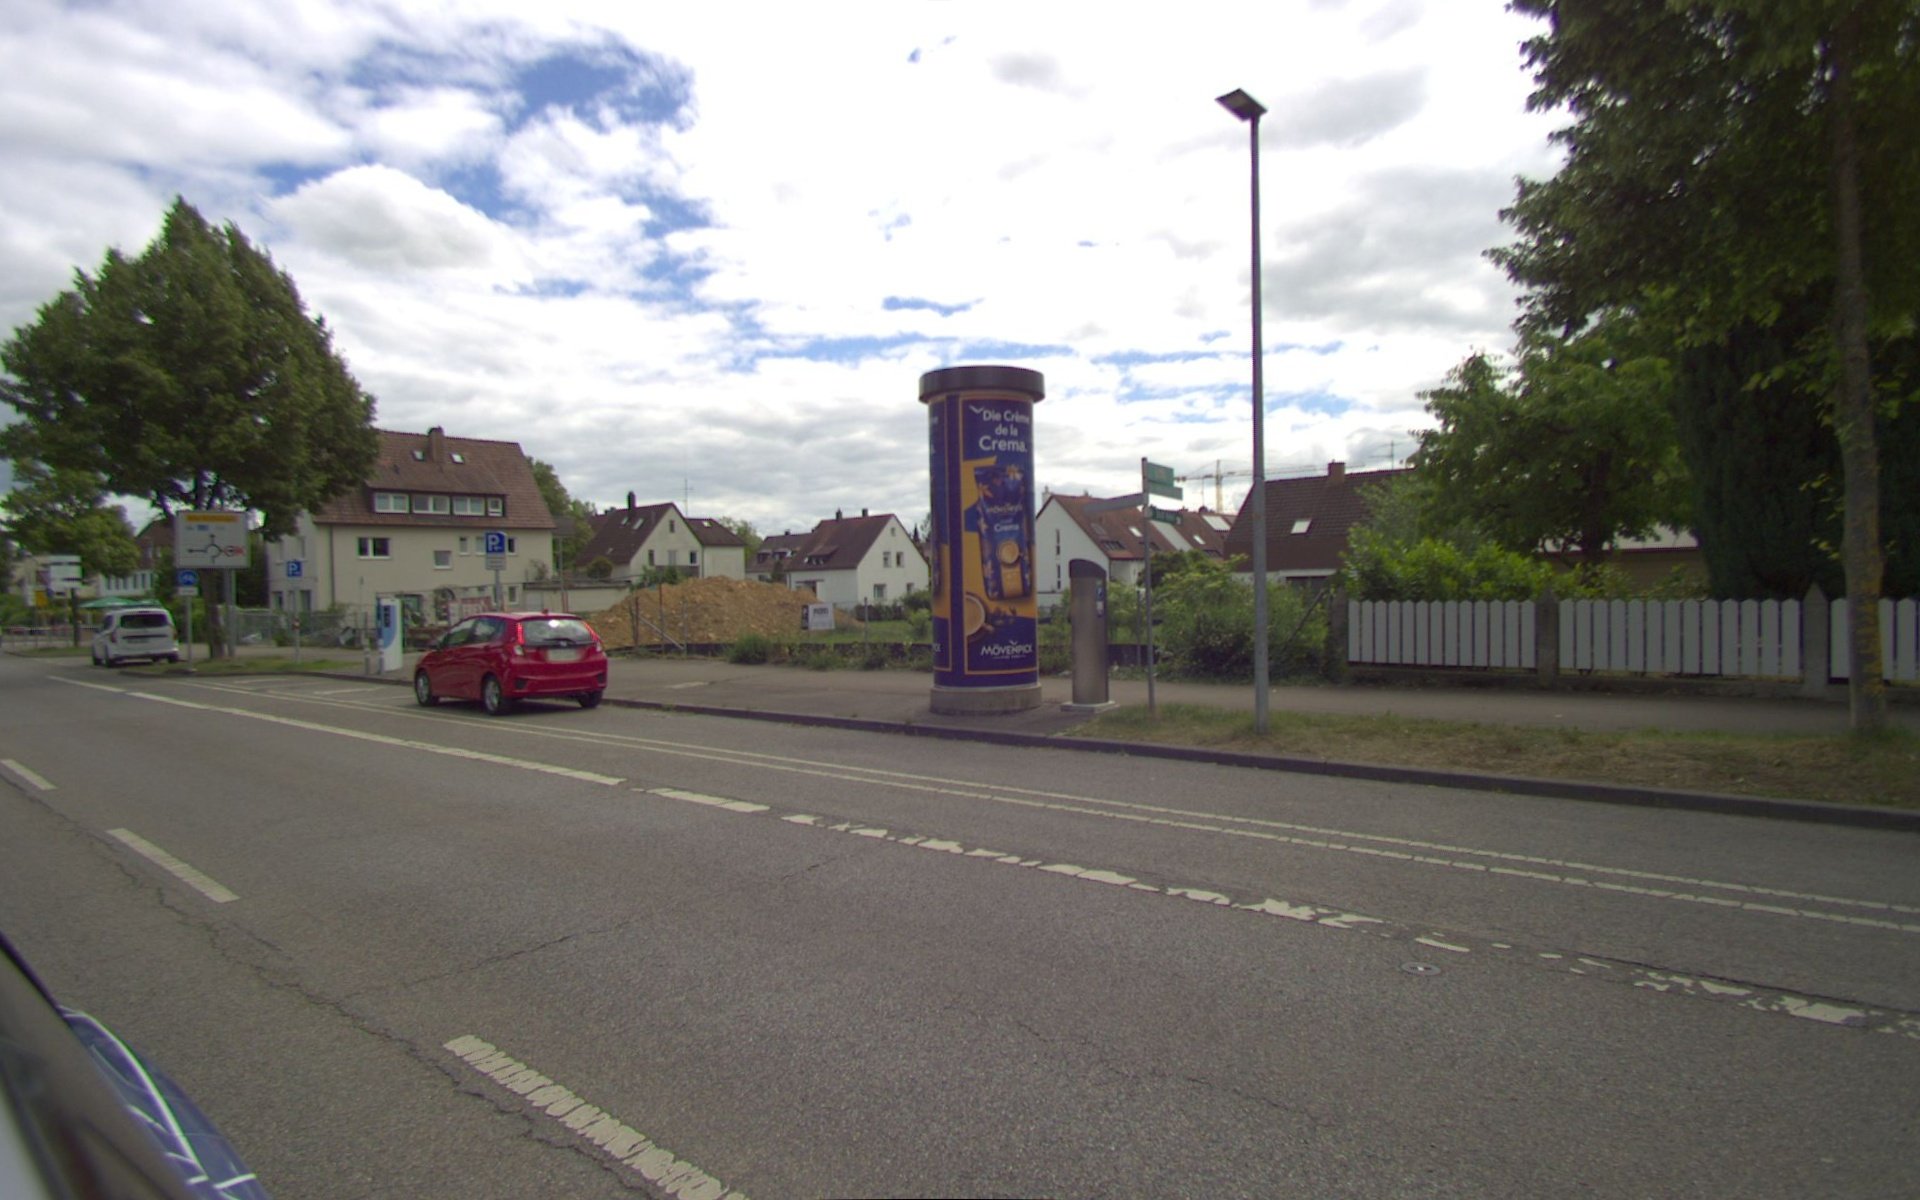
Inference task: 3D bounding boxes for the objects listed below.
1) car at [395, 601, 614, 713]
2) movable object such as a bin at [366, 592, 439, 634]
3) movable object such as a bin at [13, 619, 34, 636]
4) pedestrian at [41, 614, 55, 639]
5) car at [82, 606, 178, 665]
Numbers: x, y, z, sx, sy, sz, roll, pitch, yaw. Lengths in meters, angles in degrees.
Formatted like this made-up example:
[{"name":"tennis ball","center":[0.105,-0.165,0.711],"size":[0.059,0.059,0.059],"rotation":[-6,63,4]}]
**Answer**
[{"name":"car","center":[-7.392,0.845,16.229],"size":[4.131,1.552,1.667],"rotation":[-1,0,42]},{"name":"movable object such as a bin","center":[-30.141,0.702,54.669],"size":[4.356,2.204,1.878],"rotation":[-1,0,38]},{"name":"movable object such as a bin","center":[-79.659,2.351,86.109],"size":[2.720,1.427,0.971],"rotation":[-2,0,41]},{"name":"pedestrian","center":[-69.072,2.010,76.661],"size":[0.627,1.840,0.568],"rotation":[-3,1,-32]},{"name":"car","center":[-27.229,1.133,33.145],"size":[4.550,1.784,1.752],"rotation":[-1,0,42]}]
